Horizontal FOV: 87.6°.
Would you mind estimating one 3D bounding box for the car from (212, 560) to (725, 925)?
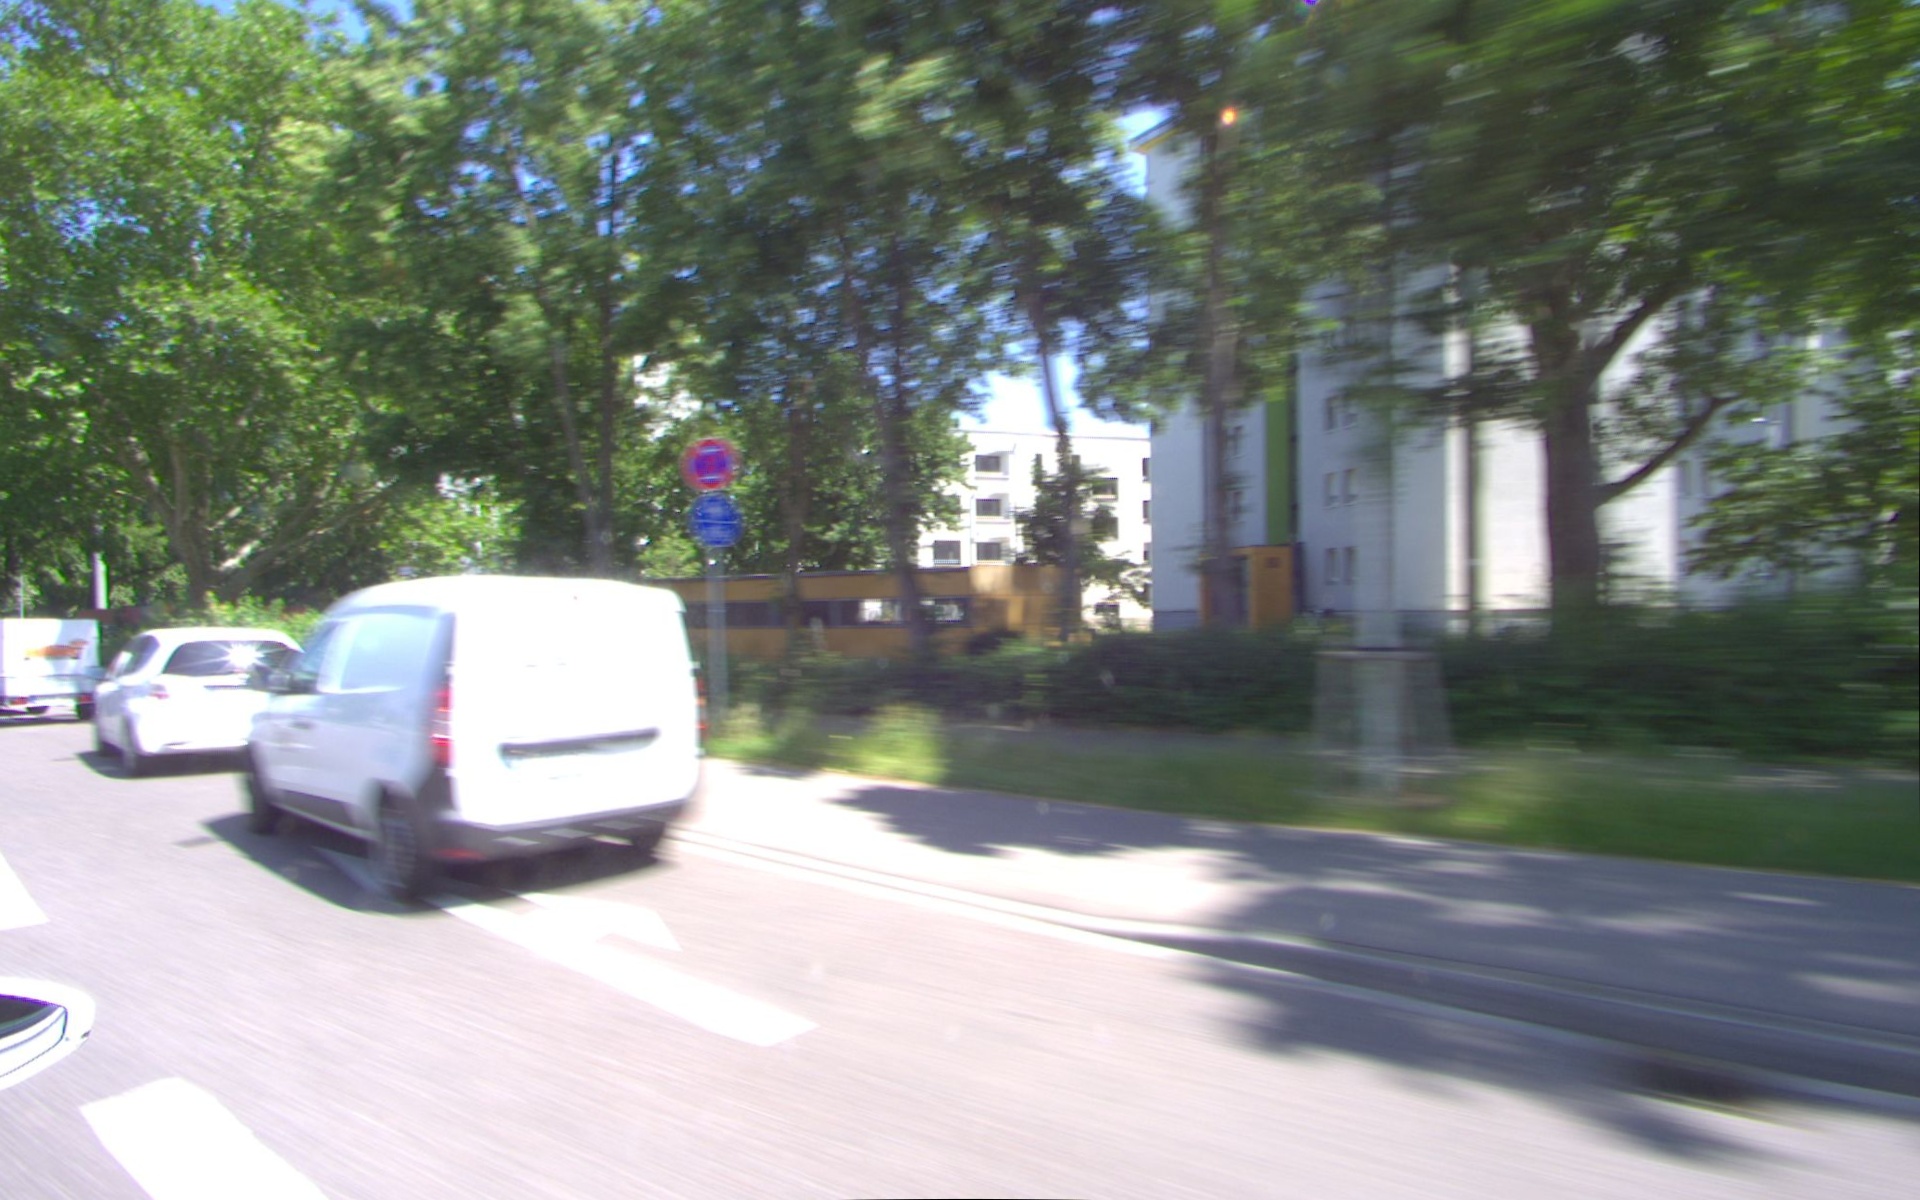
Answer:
[{"bbox_3d":[-3.630,0.754,6.972,4.378,1.769,1.701,-1,-2,42],"label":"car"}]

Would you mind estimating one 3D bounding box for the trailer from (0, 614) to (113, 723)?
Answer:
[{"bbox_3d":[-15.708,1.104,16.885,2.817,1.690,1.465,-1,-2,34],"label":"trailer"}]

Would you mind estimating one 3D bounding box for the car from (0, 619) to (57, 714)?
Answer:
[{"bbox_3d":[-18.774,1.192,18.743,4.336,1.675,1.696,-1,-2,33],"label":"car"}]

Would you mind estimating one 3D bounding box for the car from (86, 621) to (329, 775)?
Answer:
[{"bbox_3d":[-8.905,1.016,11.729,3.838,1.507,1.711,-1,-2,44],"label":"car"}]
